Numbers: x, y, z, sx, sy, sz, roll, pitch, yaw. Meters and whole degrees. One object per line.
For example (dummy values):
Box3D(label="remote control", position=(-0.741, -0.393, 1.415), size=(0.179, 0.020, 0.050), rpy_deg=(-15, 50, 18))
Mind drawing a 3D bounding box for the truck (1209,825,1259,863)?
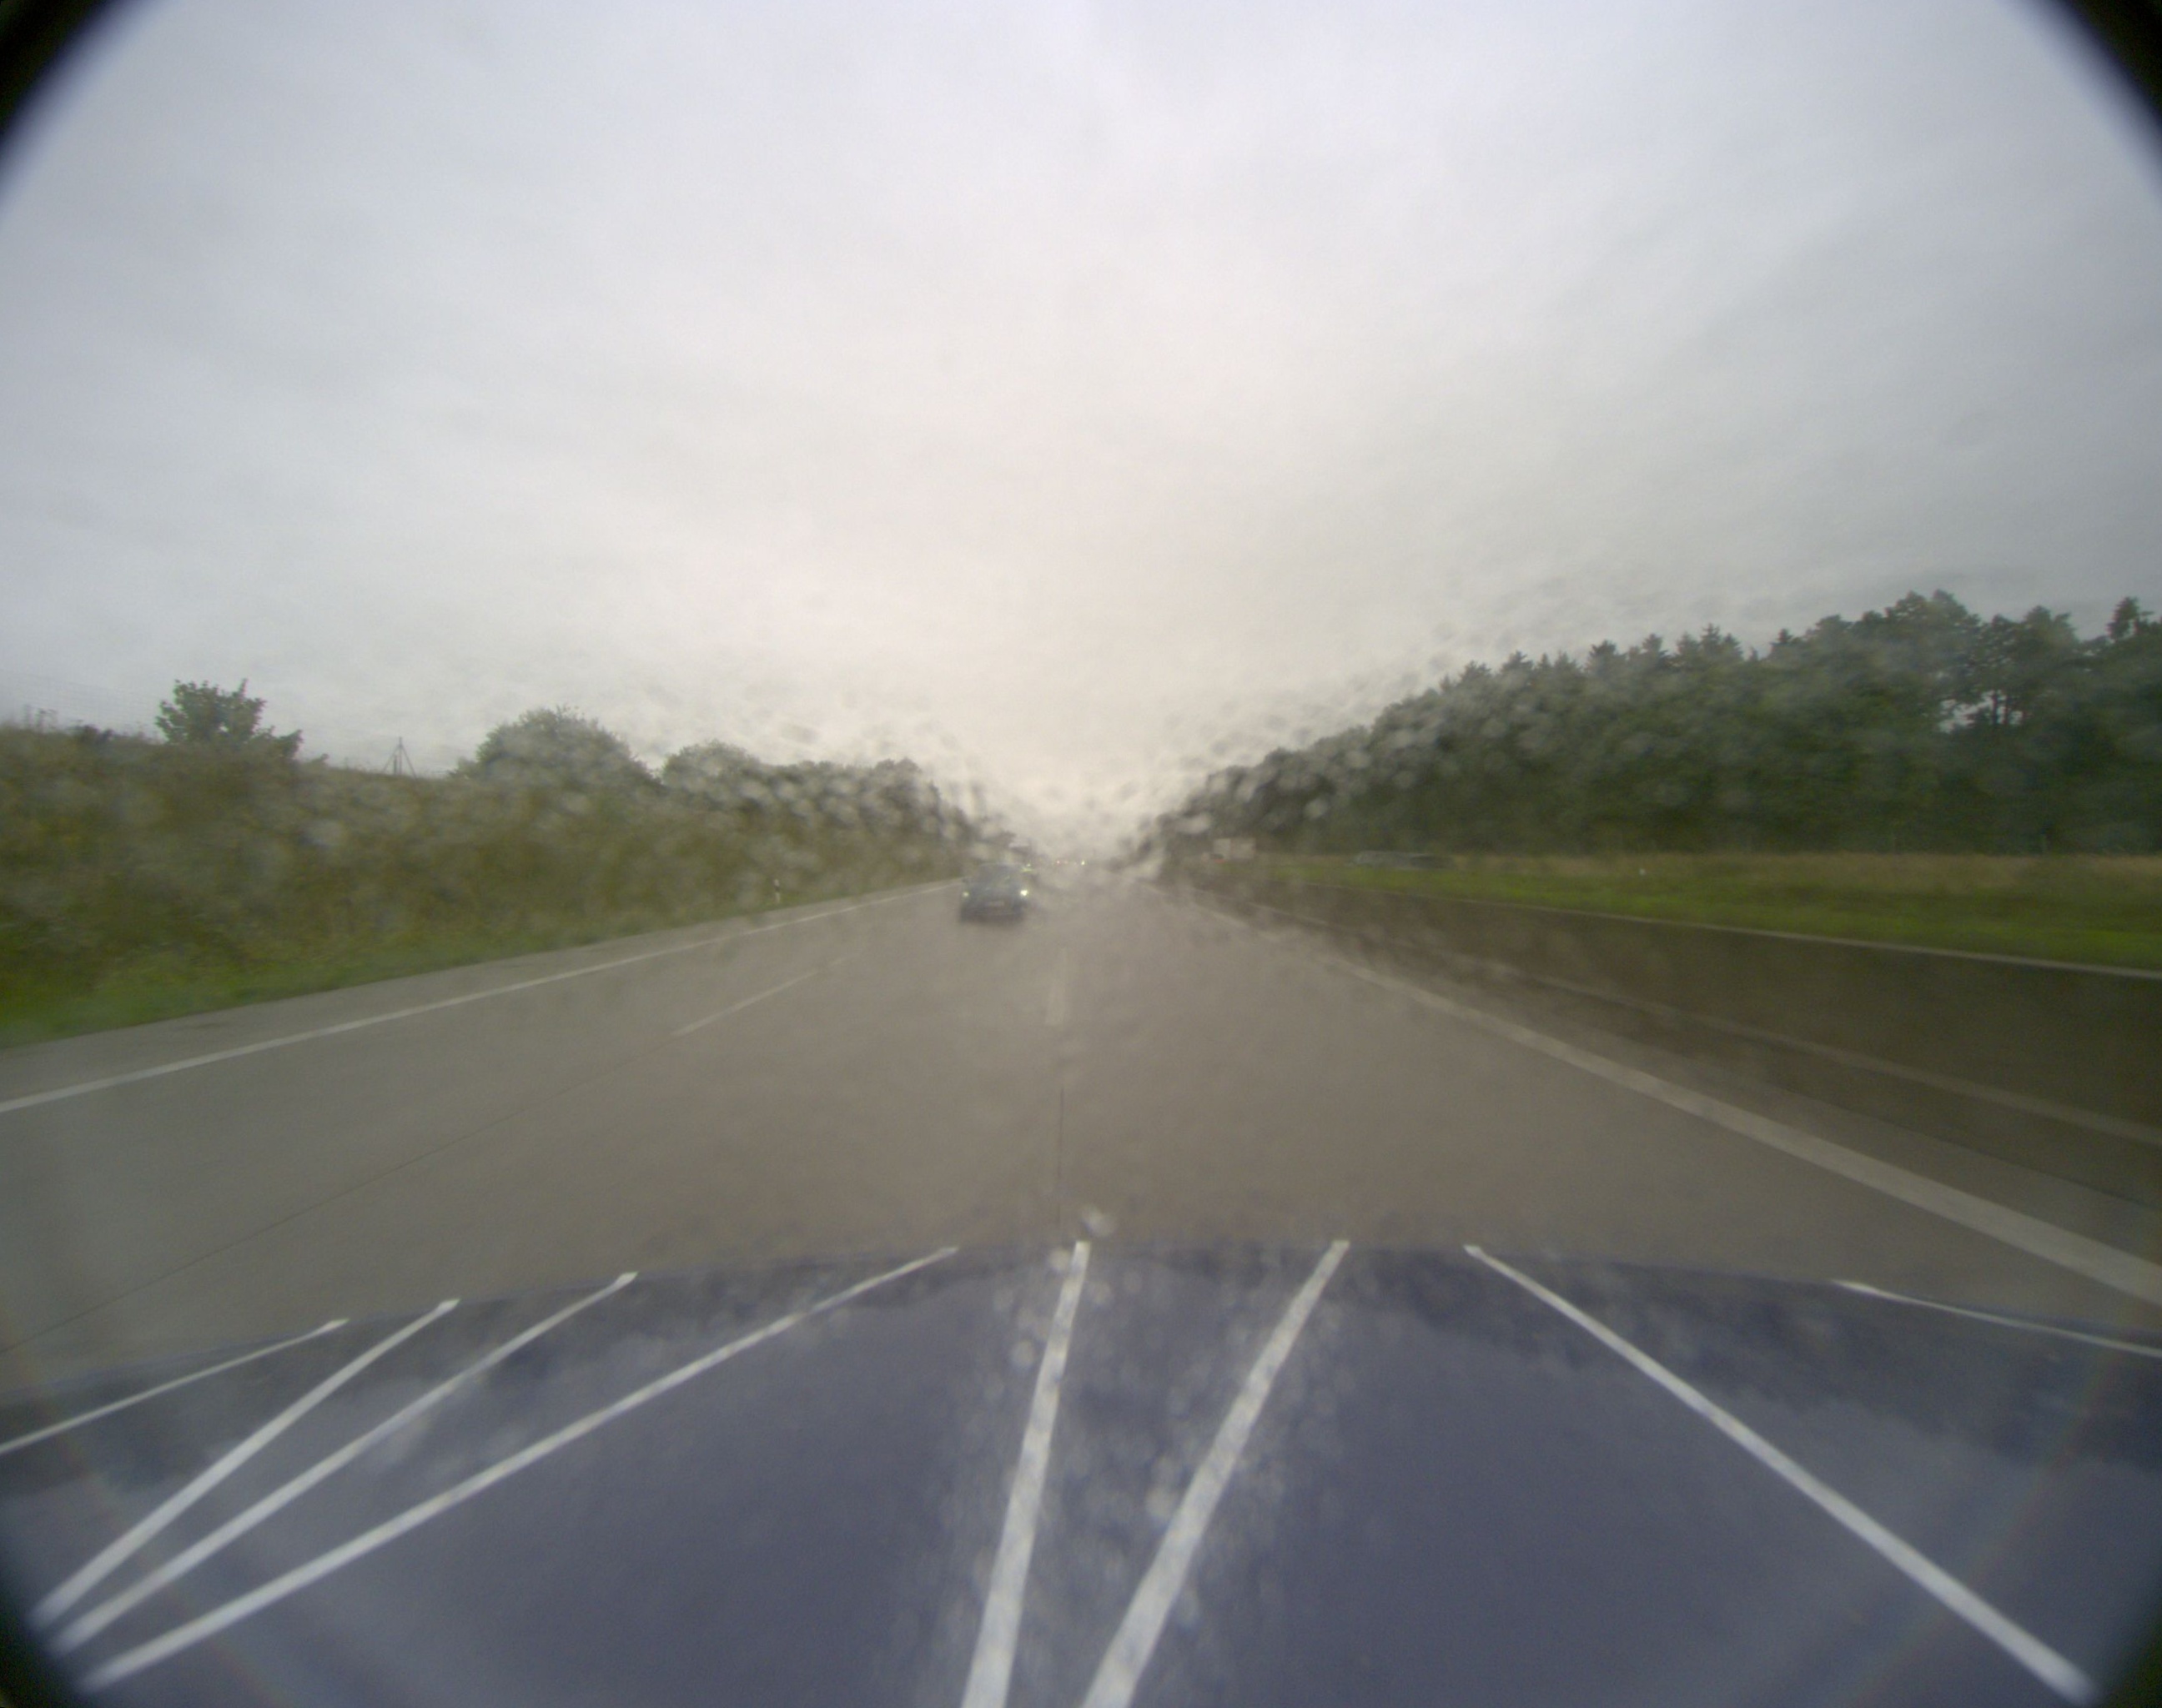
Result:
Box3D(label="truck", position=(16.961, -0.950, 85.016), size=(2.910, 3.833, 12.450), rpy_deg=(-1, -1, -1))

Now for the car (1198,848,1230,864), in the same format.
Box3D(label="car", position=(13.468, 0.247, 77.307), size=(2.115, 1.621, 5.851), rpy_deg=(0, -1, -1))

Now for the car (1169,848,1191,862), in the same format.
Box3D(label="car", position=(12.838, 0.111, 98.906), size=(1.995, 1.622, 5.382), rpy_deg=(-2, 0, -1))

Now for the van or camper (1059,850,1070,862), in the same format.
Box3D(label="van or camper", position=(-3.661, 0.463, 168.407), size=(2.233, 2.537, 7.949), rpy_deg=(0, 1, 1))

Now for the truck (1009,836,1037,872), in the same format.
Box3D(label="truck", position=(-6.743, 0.017, 89.006), size=(2.643, 3.930, 5.686), rpy_deg=(-3, -1, 0))

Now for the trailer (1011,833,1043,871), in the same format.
Box3D(label="trailer", position=(-6.692, -0.104, 96.675), size=(2.713, 4.353, 15.206), rpy_deg=(-3, -1, 0))

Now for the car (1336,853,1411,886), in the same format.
Box3D(label="car", position=(13.569, 0.692, 35.523), size=(1.606, 1.379, 4.623), rpy_deg=(-1, 0, -2))

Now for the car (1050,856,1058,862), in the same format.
Box3D(label="car", position=(-7.713, 1.493, 215.753), size=(1.998, 1.575, 5.954), rpy_deg=(-3, -1, 1))

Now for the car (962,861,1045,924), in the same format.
Box3D(label="car", position=(-1.978, 0.960, 20.683), size=(1.734, 1.450, 4.672), rpy_deg=(-1, 0, 0))

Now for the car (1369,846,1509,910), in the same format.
Box3D(label="car", position=(9.709, 0.600, 21.016), size=(1.735, 1.529, 4.365), rpy_deg=(-2, 0, -1))
